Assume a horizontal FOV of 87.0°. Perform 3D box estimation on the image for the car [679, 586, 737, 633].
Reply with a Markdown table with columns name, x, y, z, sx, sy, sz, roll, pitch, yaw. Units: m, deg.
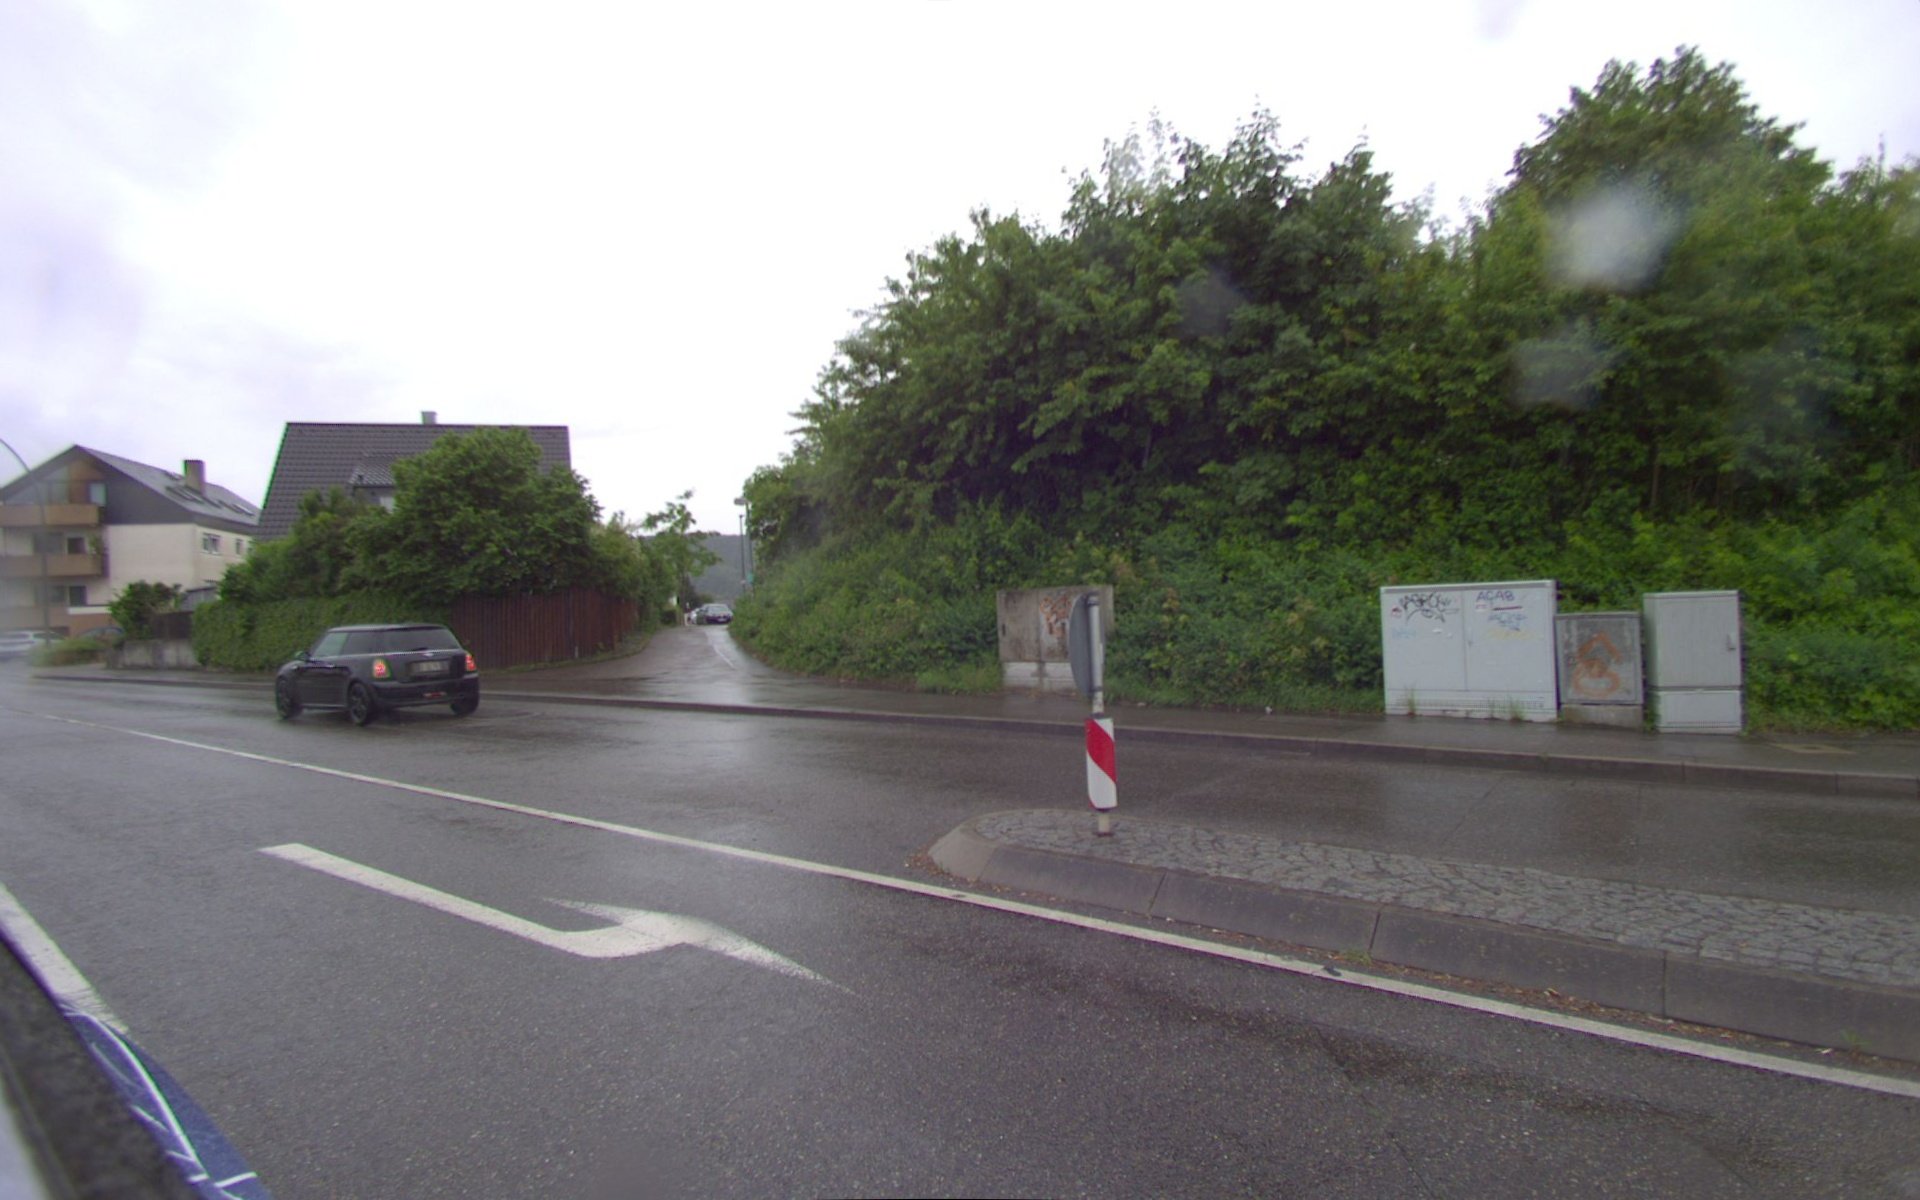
| name | x | y | z | sx | sy | sz | roll | pitch | yaw |
| --- | --- | --- | --- | --- | --- | --- | --- | --- | --- |
| car | -9.173 | 0.336 | 37.054 | 1.683 | 1.600 | 3.668 | -1 | 0 | -8 |

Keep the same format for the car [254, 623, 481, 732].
| name | x | y | z | sx | sy | sz | roll | pitch | yaw |
| --- | --- | --- | --- | --- | --- | --- | --- | --- | --- |
| car | -8.937 | 1.086 | 15.203 | 3.453 | 1.397 | 1.661 | -2 | 0 | 35 |

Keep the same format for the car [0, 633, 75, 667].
| name | x | y | z | sx | sy | sz | roll | pitch | yaw |
| --- | --- | --- | --- | --- | --- | --- | --- | --- | --- |
| car | -46.784 | 2.493 | 50.969 | 1.837 | 1.530 | 4.012 | -2 | 0 | -18 |

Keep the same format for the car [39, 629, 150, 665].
| name | x | y | z | sx | sy | sz | roll | pitch | yaw |
| --- | --- | --- | --- | --- | --- | --- | --- | --- | --- |
| car | -41.398 | 2.214 | 48.474 | 3.609 | 1.530 | 1.759 | -2 | 0 | -15 |

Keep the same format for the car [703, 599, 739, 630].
| name | x | y | z | sx | sy | sz | roll | pitch | yaw |
| --- | --- | --- | --- | --- | --- | --- | --- | --- | --- |
| car | -15.587 | 0.930 | 66.175 | 1.968 | 1.873 | 4.008 | -2 | 0 | -9 |
